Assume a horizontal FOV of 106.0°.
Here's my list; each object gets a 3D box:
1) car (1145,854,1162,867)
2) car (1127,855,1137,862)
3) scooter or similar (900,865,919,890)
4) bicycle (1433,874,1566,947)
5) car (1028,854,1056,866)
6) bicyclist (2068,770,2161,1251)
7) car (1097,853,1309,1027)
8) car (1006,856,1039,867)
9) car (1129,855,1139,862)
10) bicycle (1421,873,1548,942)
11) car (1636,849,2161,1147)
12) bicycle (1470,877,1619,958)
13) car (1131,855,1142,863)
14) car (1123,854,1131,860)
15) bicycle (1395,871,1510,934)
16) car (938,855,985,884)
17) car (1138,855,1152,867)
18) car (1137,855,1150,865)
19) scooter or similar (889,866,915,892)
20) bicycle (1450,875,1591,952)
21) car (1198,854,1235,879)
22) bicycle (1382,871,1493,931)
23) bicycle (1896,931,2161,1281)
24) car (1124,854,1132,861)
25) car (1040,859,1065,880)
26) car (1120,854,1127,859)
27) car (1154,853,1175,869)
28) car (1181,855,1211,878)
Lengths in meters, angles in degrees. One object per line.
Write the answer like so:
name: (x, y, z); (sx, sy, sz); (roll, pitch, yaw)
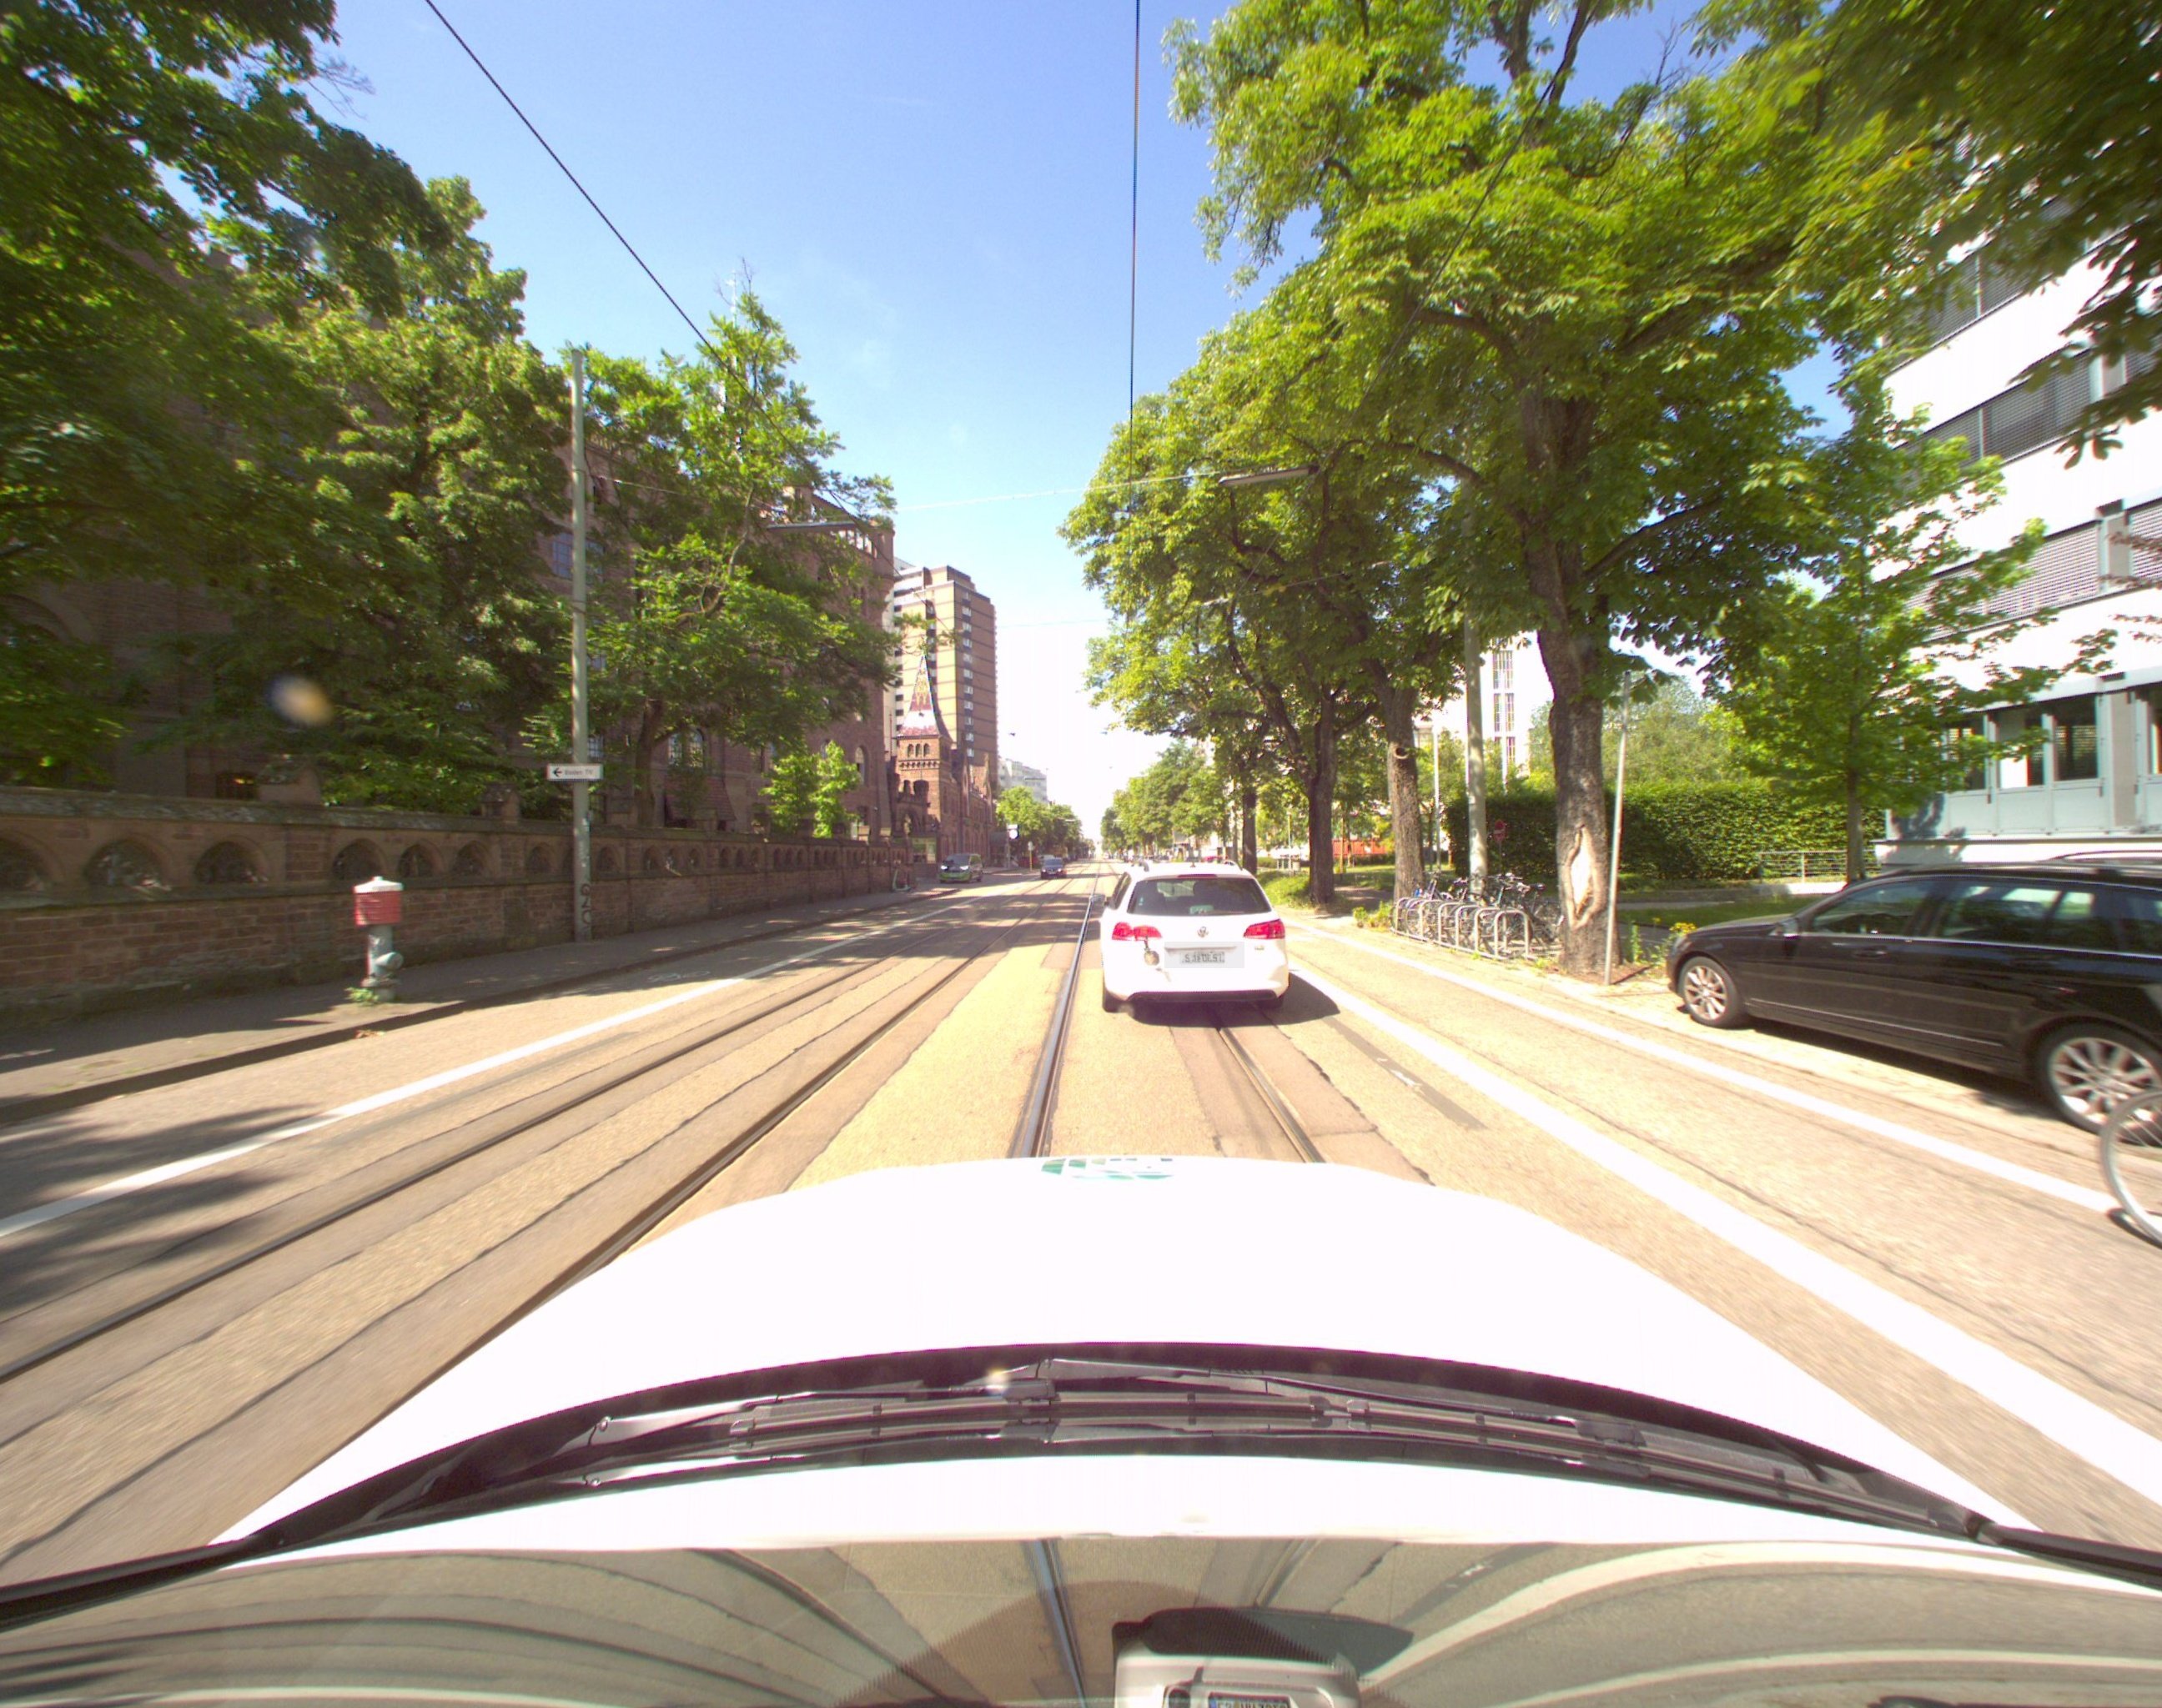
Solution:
car: (8.337, 0.710, 93.875); (1.707, 1.401, 3.844); (-2, 0, 1)
car: (10.015, 0.851, 159.687); (1.706, 1.401, 3.845); (-2, 0, 2)
scooter or similar: (-8.512, 1.182, 40.473); (0.419, 1.200, 1.148); (-2, 0, 16)
bicycle: (6.317, 0.845, 12.325); (1.783, 1.010, 0.487); (-2, 0, -4)
car: (-6.934, 1.085, 145.062); (4.656, 2.013, 1.980); (-2, 0, -31)
bicyclist: (4.036, 0.521, 2.617); (0.783, 1.629, 0.738); (-2, 0, 1)
car: (1.091, 0.789, 9.208); (1.748, 1.442, 4.412); (-2, -1, 0)
car: (-8.040, 1.069, 112.378); (4.131, 1.530, 1.919); (1, 0, -20)
car: (9.866, 0.828, 150.439); (1.706, 1.401, 3.845); (-2, 0, 2)
bicycle: (6.383, 0.839, 12.915); (1.783, 1.010, 0.487); (-2, 0, -4)
car: (6.264, 0.716, 5.740); (1.658, 1.444, 4.635); (-2, 0, 2)
bicycle: (6.342, 0.851, 11.164); (1.783, 1.010, 0.487); (-2, 0, -4)
car: (9.489, 0.844, 139.206); (1.706, 1.401, 3.845); (-2, 0, 2)
car: (10.474, 0.727, 185.205); (1.706, 1.401, 3.845); (-2, 0, 2)
bicycle: (6.456, 0.839, 14.195); (1.783, 1.010, 0.487); (-2, 0, -4)
car: (-7.789, 0.983, 53.500); (1.985, 1.757, 4.717); (-2, 0, 4)
car: (8.394, 0.906, 106.960); (1.706, 1.401, 3.845); (-2, 0, 2)
car: (9.189, 0.907, 119.446); (1.706, 1.401, 3.845); (-2, 0, 2)
scooter or similar: (-8.130, 1.135, 37.012); (0.400, 1.155, 1.150); (-2, 0, 35)
bicycle: (6.326, 0.848, 11.747); (1.783, 1.010, 0.487); (-2, 0, -4)
car: (7.363, 0.651, 44.557); (1.705, 1.280, 3.849); (-2, 0, 6)
bicycle: (6.432, 0.836, 14.715); (1.783, 1.010, 0.487); (-2, 0, -4)
bicycle: (4.025, 0.890, 2.633); (0.808, 1.078, 2.013); (-1, 0, 2)
car: (10.418, 0.754, 180.816); (1.706, 1.401, 3.845); (-2, 0, 2)
car: (-1.984, 1.067, 57.708); (1.487, 1.384, 3.644); (-2, 0, 2)
car: (11.194, 0.603, 214.545); (1.706, 1.401, 3.845); (-2, 0, 2)
car: (7.789, 0.679, 76.187); (1.706, 1.401, 3.845); (-2, 0, 2)
car: (7.678, 0.803, 54.592); (1.706, 1.401, 3.846); (-2, 0, 3)
